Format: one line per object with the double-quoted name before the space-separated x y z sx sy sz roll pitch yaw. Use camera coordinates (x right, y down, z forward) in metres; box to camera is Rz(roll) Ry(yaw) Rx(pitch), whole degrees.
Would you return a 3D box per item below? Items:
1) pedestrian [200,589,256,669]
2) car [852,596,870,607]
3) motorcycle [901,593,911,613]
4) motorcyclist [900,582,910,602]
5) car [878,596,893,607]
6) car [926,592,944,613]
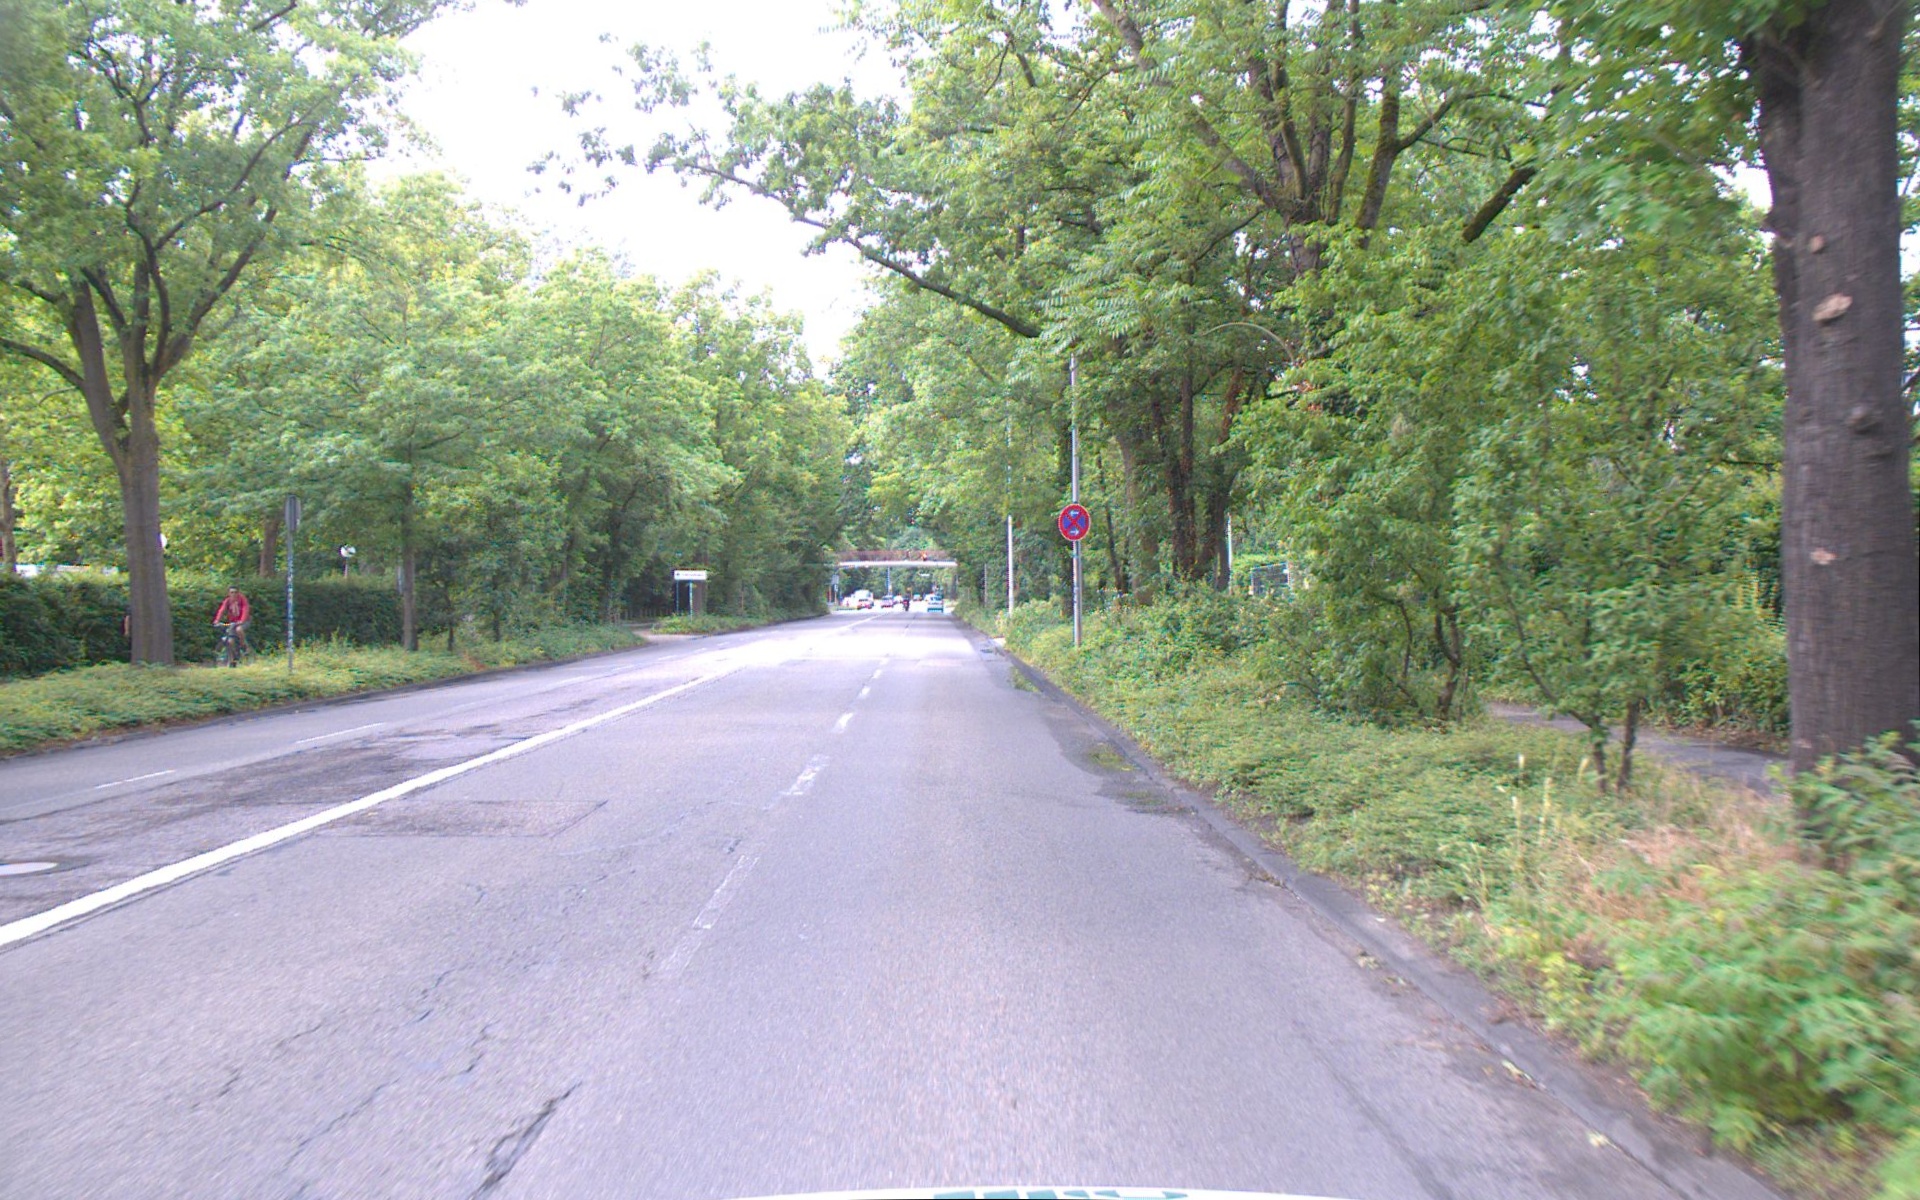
"pedestrian" -15.138 0.590 34.205 0.775 1.641 0.848 0 0 -1
"car" -12.511 0.170 210.053 1.952 1.377 3.895 0 0 2
"motorcycle" -5.473 0.263 167.085 0.970 1.970 2.668 0 0 -1
"motorcyclist" -5.550 -0.826 167.031 1.042 2.049 0.842 0 0 -1
"car" -9.435 0.189 210.420 1.640 1.386 3.922 0 0 1
"car" -2.464 0.260 163.467 1.806 2.049 3.999 0 0 -1
